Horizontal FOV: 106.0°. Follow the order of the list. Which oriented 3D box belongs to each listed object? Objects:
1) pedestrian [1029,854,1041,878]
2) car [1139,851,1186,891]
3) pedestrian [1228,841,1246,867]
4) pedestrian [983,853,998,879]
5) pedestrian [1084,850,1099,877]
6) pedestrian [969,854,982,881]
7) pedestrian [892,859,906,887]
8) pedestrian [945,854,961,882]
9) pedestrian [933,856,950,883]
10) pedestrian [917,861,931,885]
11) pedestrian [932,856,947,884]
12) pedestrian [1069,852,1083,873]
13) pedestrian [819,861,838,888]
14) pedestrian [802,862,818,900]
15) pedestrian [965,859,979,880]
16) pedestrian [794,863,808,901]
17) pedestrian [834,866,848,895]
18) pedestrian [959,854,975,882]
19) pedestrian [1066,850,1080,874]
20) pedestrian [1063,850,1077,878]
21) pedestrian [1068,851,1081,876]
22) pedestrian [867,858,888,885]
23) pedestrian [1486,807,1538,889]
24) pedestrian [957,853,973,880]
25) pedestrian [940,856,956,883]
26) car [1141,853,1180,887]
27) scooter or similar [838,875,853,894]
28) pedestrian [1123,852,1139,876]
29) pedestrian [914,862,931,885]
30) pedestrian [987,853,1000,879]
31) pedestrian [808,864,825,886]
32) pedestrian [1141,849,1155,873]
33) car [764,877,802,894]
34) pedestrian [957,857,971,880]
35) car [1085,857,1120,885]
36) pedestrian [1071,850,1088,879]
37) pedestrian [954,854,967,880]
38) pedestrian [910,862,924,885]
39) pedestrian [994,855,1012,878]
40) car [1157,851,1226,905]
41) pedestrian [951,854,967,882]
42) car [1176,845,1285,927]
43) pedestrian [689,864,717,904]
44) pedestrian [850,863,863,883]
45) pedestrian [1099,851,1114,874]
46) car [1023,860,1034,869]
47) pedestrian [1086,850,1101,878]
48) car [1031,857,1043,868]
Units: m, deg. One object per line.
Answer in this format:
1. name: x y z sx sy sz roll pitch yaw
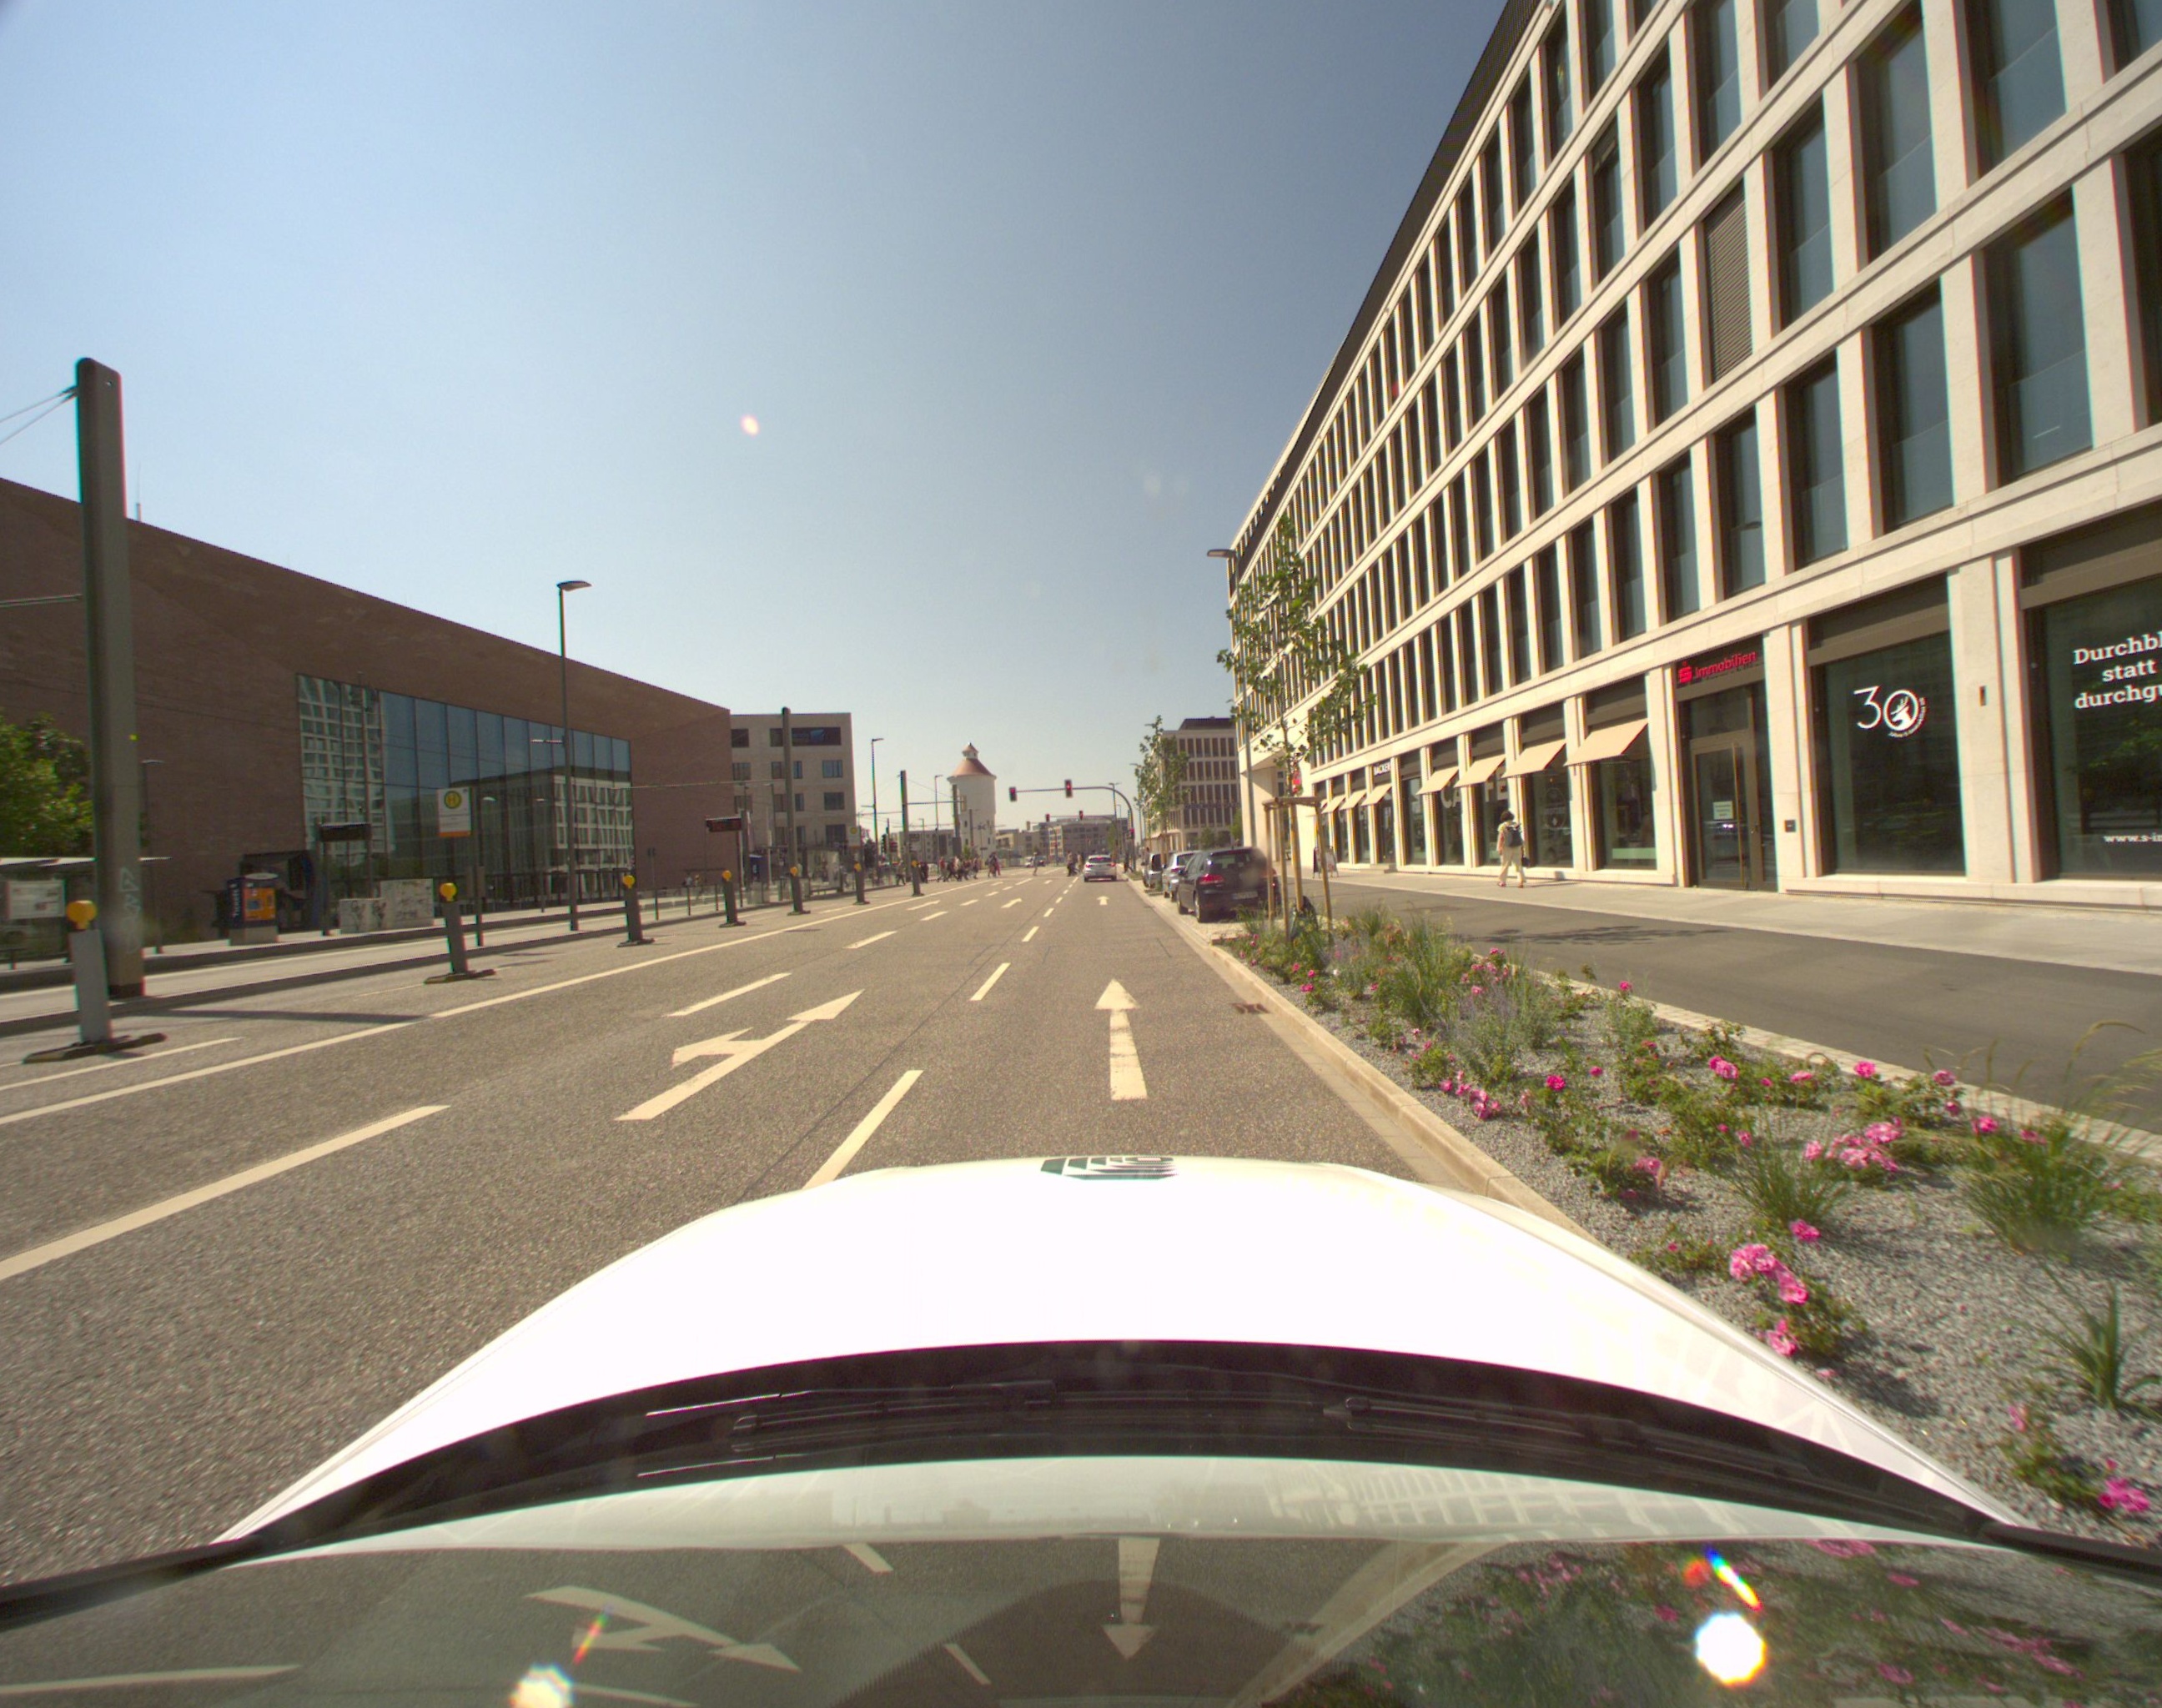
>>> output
1. pedestrian: -3.461 0.914 61.379 0.763 1.733 0.692 -4 0 2
2. car: 3.303 0.656 33.336 1.550 1.472 3.471 -4 0 1
3. pedestrian: 10.659 -0.002 55.562 0.986 1.655 0.692 -4 0 2
4. pedestrian: -6.824 0.923 61.401 0.838 1.890 0.692 -4 0 2
5. pedestrian: 0.755 0.666 57.245 0.886 1.890 0.795 -4 0 -4
6. pedestrian: -7.740 0.994 59.790 0.763 1.890 0.692 -4 0 2
7. pedestrian: -12.638 1.286 56.638 0.634 1.890 0.797 -4 0 3
8. pedestrian: -8.752 0.962 55.794 0.886 1.890 0.691 -4 0 -4
9. pedestrian: -10.079 1.137 59.011 0.883 1.890 0.798 -4 0 6
10. pedestrian: -11.064 1.334 57.314 0.630 1.618 0.770 -4 0 7
11. pedestrian: -9.995 1.107 57.482 0.886 1.890 0.691 -4 0 -4
12. pedestrian: -0.411 0.674 66.070 0.883 1.646 0.797 -4 0 5
13. pedestrian: -18.779 1.509 60.561 0.975 1.890 0.827 -4 -1 2
14. pedestrian: -13.440 1.331 40.416 0.665 1.820 0.718 -2 0 -22
15. pedestrian: -8.959 1.239 66.957 0.883 1.646 0.797 -4 0 5
16. pedestrian: -13.479 1.340 39.153 0.551 1.820 0.596 -2 0 -20
17. pedestrian: -13.799 1.510 46.802 0.503 1.621 0.650 -4 0 1
18. pedestrian: -8.003 0.960 57.237 0.886 1.890 0.691 -4 0 -4
19. pedestrian: -0.561 0.592 57.926 0.790 1.646 0.891 -4 0 3
20. pedestrian: -0.764 0.708 56.940 0.726 1.890 0.822 -4 0 7
21. pedestrian: -0.471 0.695 58.806 0.763 1.733 0.692 -4 0 2
22. pedestrian: -15.349 1.325 61.431 1.164 1.890 1.060 -4 2 2
23. pedestrian: 9.515 -0.128 17.999 0.625 1.742 0.814 -4 0 1
24. pedestrian: -9.180 0.974 64.383 1.023 2.013 0.949 -4 0 -17
25. pedestrian: -9.811 1.147 60.201 0.884 1.890 0.796 -4 0 1
26. car: 3.670 0.699 38.100 1.424 1.390 4.001 -4 0 1
27. scooter or similar: -13.753 1.789 47.583 0.503 1.059 0.834 -4 0 1
28. pedestrian: 3.482 0.692 56.544 0.886 1.634 0.691 -4 0 -4
29. pedestrian: -11.838 1.453 60.794 0.906 1.637 0.815 -4 0 6
30. pedestrian: -6.479 0.891 60.468 0.763 1.890 0.692 -4 0 2
31. pedestrian: -23.671 1.877 72.966 0.880 1.890 0.989 -4 0 21
32. pedestrian: 4.722 0.522 57.513 0.760 1.619 0.695 -4 0 18
33. car: -36.563 3.849 99.983 3.943 1.816 1.791 -3 -1 -11
34. pedestrian: -9.098 1.136 63.308 0.896 1.673 1.007 -4 0 -17
35. car: 1.230 0.951 45.252 1.764 1.395 3.534 -2 -1 3
36. pedestrian: -0.091 0.717 55.595 1.010 1.890 0.798 -4 0 -2
37. pedestrian: -9.114 0.985 61.747 0.730 1.890 0.715 -2 0 6
38. pedestrian: -11.840 1.407 58.828 0.724 1.576 0.642 -4 0 6
39. pedestrian: -6.430 1.006 66.885 1.175 1.820 1.070 -4 0 5
40. car: 3.343 0.684 25.249 1.599 1.387 3.816 -6 0 1
41. pedestrian: -8.461 0.981 56.424 0.886 1.890 0.691 -4 0 -4
42. car: 3.155 0.613 17.927 1.730 1.474 3.983 -4 0 2
43. pedestrian: -17.836 1.390 38.436 0.808 1.820 0.825 -3 0 1
44. pedestrian: -19.969 1.681 72.399 0.663 1.681 0.700 -4 0 42
45. pedestrian: 1.887 0.602 60.713 0.887 1.646 0.794 -4 0 -9
46. car: -9.327 1.882 145.073 1.580 1.530 3.259 -3 -1 2
47. pedestrian: 0.865 0.669 56.386 0.886 1.890 0.795 -4 0 -4
48. car: -6.702 1.329 124.982 1.581 1.530 3.692 -3 -1 0
